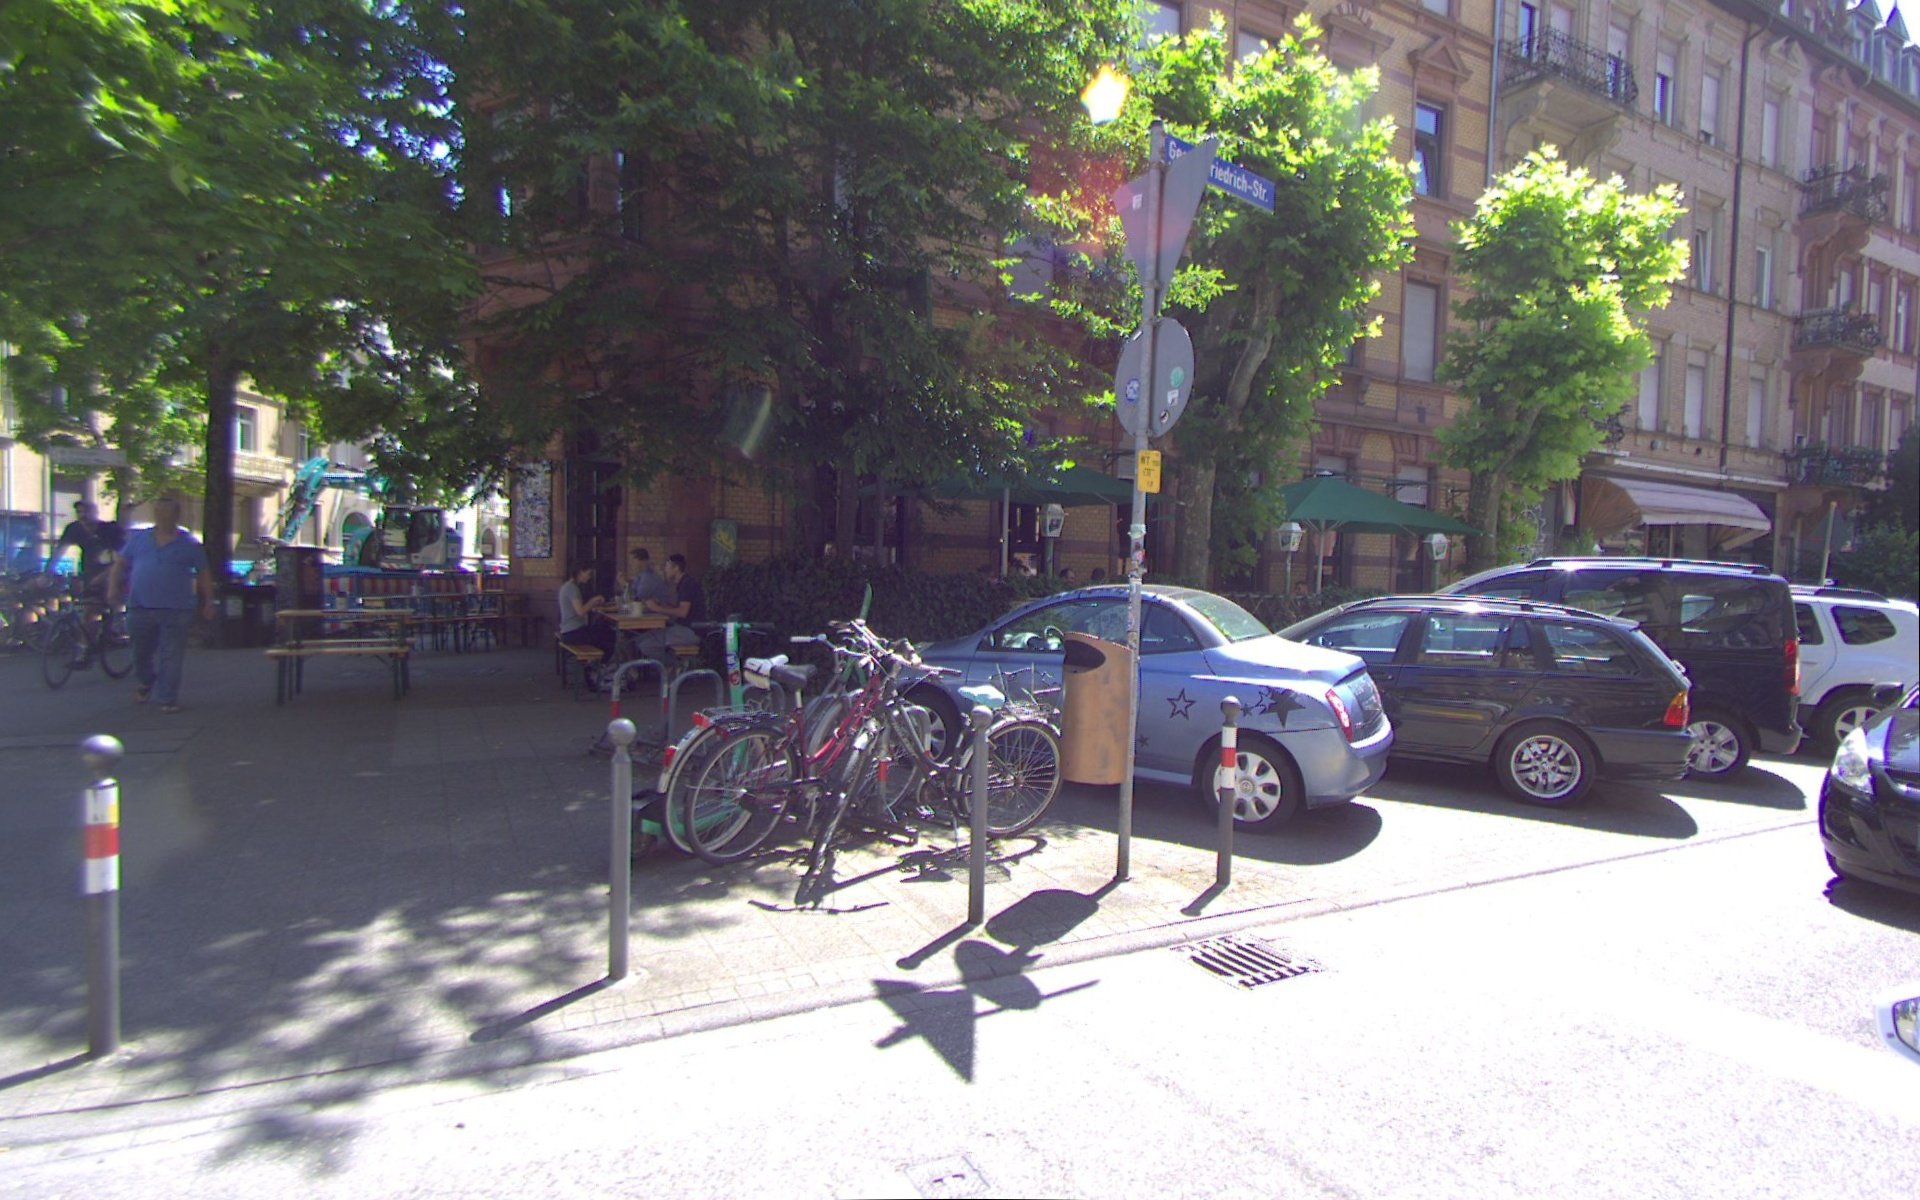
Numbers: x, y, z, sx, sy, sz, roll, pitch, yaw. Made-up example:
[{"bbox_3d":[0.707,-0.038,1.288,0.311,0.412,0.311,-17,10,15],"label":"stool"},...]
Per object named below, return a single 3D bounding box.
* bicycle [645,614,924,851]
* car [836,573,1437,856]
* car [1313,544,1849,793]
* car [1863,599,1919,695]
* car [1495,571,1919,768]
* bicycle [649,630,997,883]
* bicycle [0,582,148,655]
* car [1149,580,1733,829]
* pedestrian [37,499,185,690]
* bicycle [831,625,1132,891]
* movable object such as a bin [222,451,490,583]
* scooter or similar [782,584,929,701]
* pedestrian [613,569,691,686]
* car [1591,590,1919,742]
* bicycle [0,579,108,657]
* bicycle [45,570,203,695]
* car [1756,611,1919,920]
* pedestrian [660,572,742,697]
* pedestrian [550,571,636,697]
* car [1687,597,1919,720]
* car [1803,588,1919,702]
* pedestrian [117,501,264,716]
[{"bbox_3d":[-0.951,0.683,5.748,1.608,1.172,0.334,0,4,-42],"label":"bicycle"},{"bbox_3d":[1.238,0.599,7.535,3.932,1.394,1.994,4,4,33],"label":"car"},{"bbox_3d":[5.658,0.473,9.663,3.928,1.829,1.765,4,3,30],"label":"car"},{"bbox_3d":[18.263,0.885,17.287,3.862,1.641,1.857,3,2,39],"label":"car"},{"bbox_3d":[8.344,0.624,11.118,3.938,1.680,1.752,5,4,39],"label":"car"},{"bbox_3d":[-0.670,0.750,5.431,1.884,1.096,0.486,0,4,-41],"label":"bicycle"},{"bbox_3d":[-12.451,0.256,13.942,1.781,0.947,0.490,2,2,-13],"label":"bicycle"},{"bbox_3d":[3.835,0.658,8.466,3.929,1.431,1.967,4,3,30],"label":"car"},{"bbox_3d":[-8.566,-0.070,10.190,0.852,1.814,1.003,1,3,-21],"label":"pedestrian"},{"bbox_3d":[0.163,0.756,5.395,1.671,1.189,0.486,0,4,-40],"label":"bicycle"},{"bbox_3d":[-17.008,-2.220,28.991,3.249,3.256,6.750,2,2,5],"label":"movable object such as a bin"},{"bbox_3d":[-1.063,0.434,10.283,1.447,1.136,0.277,1,4,-20],"label":"scooter or similar"},{"bbox_3d":[-3.391,0.288,11.075,0.547,1.236,0.597,3,2,28],"label":"pedestrian"},{"bbox_3d":[10.075,0.730,12.488,3.573,1.477,1.618,5,4,37],"label":"car"},{"bbox_3d":[-12.436,0.232,13.250,1.781,1.002,0.490,0,2,-13],"label":"bicycle"},{"bbox_3d":[-8.668,0.275,10.530,0.593,1.101,2.275,1,3,-22],"label":"bicycle"},{"bbox_3d":[6.464,0.845,5.586,3.950,1.463,1.747,1,1,-28],"label":"car"},{"bbox_3d":[-2.676,0.339,10.393,0.547,1.236,0.597,3,2,28],"label":"pedestrian"},{"bbox_3d":[-3.758,0.328,10.291,0.547,1.236,0.597,3,2,28],"label":"pedestrian"},{"bbox_3d":[12.695,0.793,13.956,3.849,1.490,1.864,3,2,25],"label":"car"},{"bbox_3d":[15.571,0.710,15.205,3.847,1.641,1.865,2,2,22],"label":"car"},{"bbox_3d":[-6.514,0.057,8.554,0.920,1.727,0.633,1,4,-32],"label":"pedestrian"}]
